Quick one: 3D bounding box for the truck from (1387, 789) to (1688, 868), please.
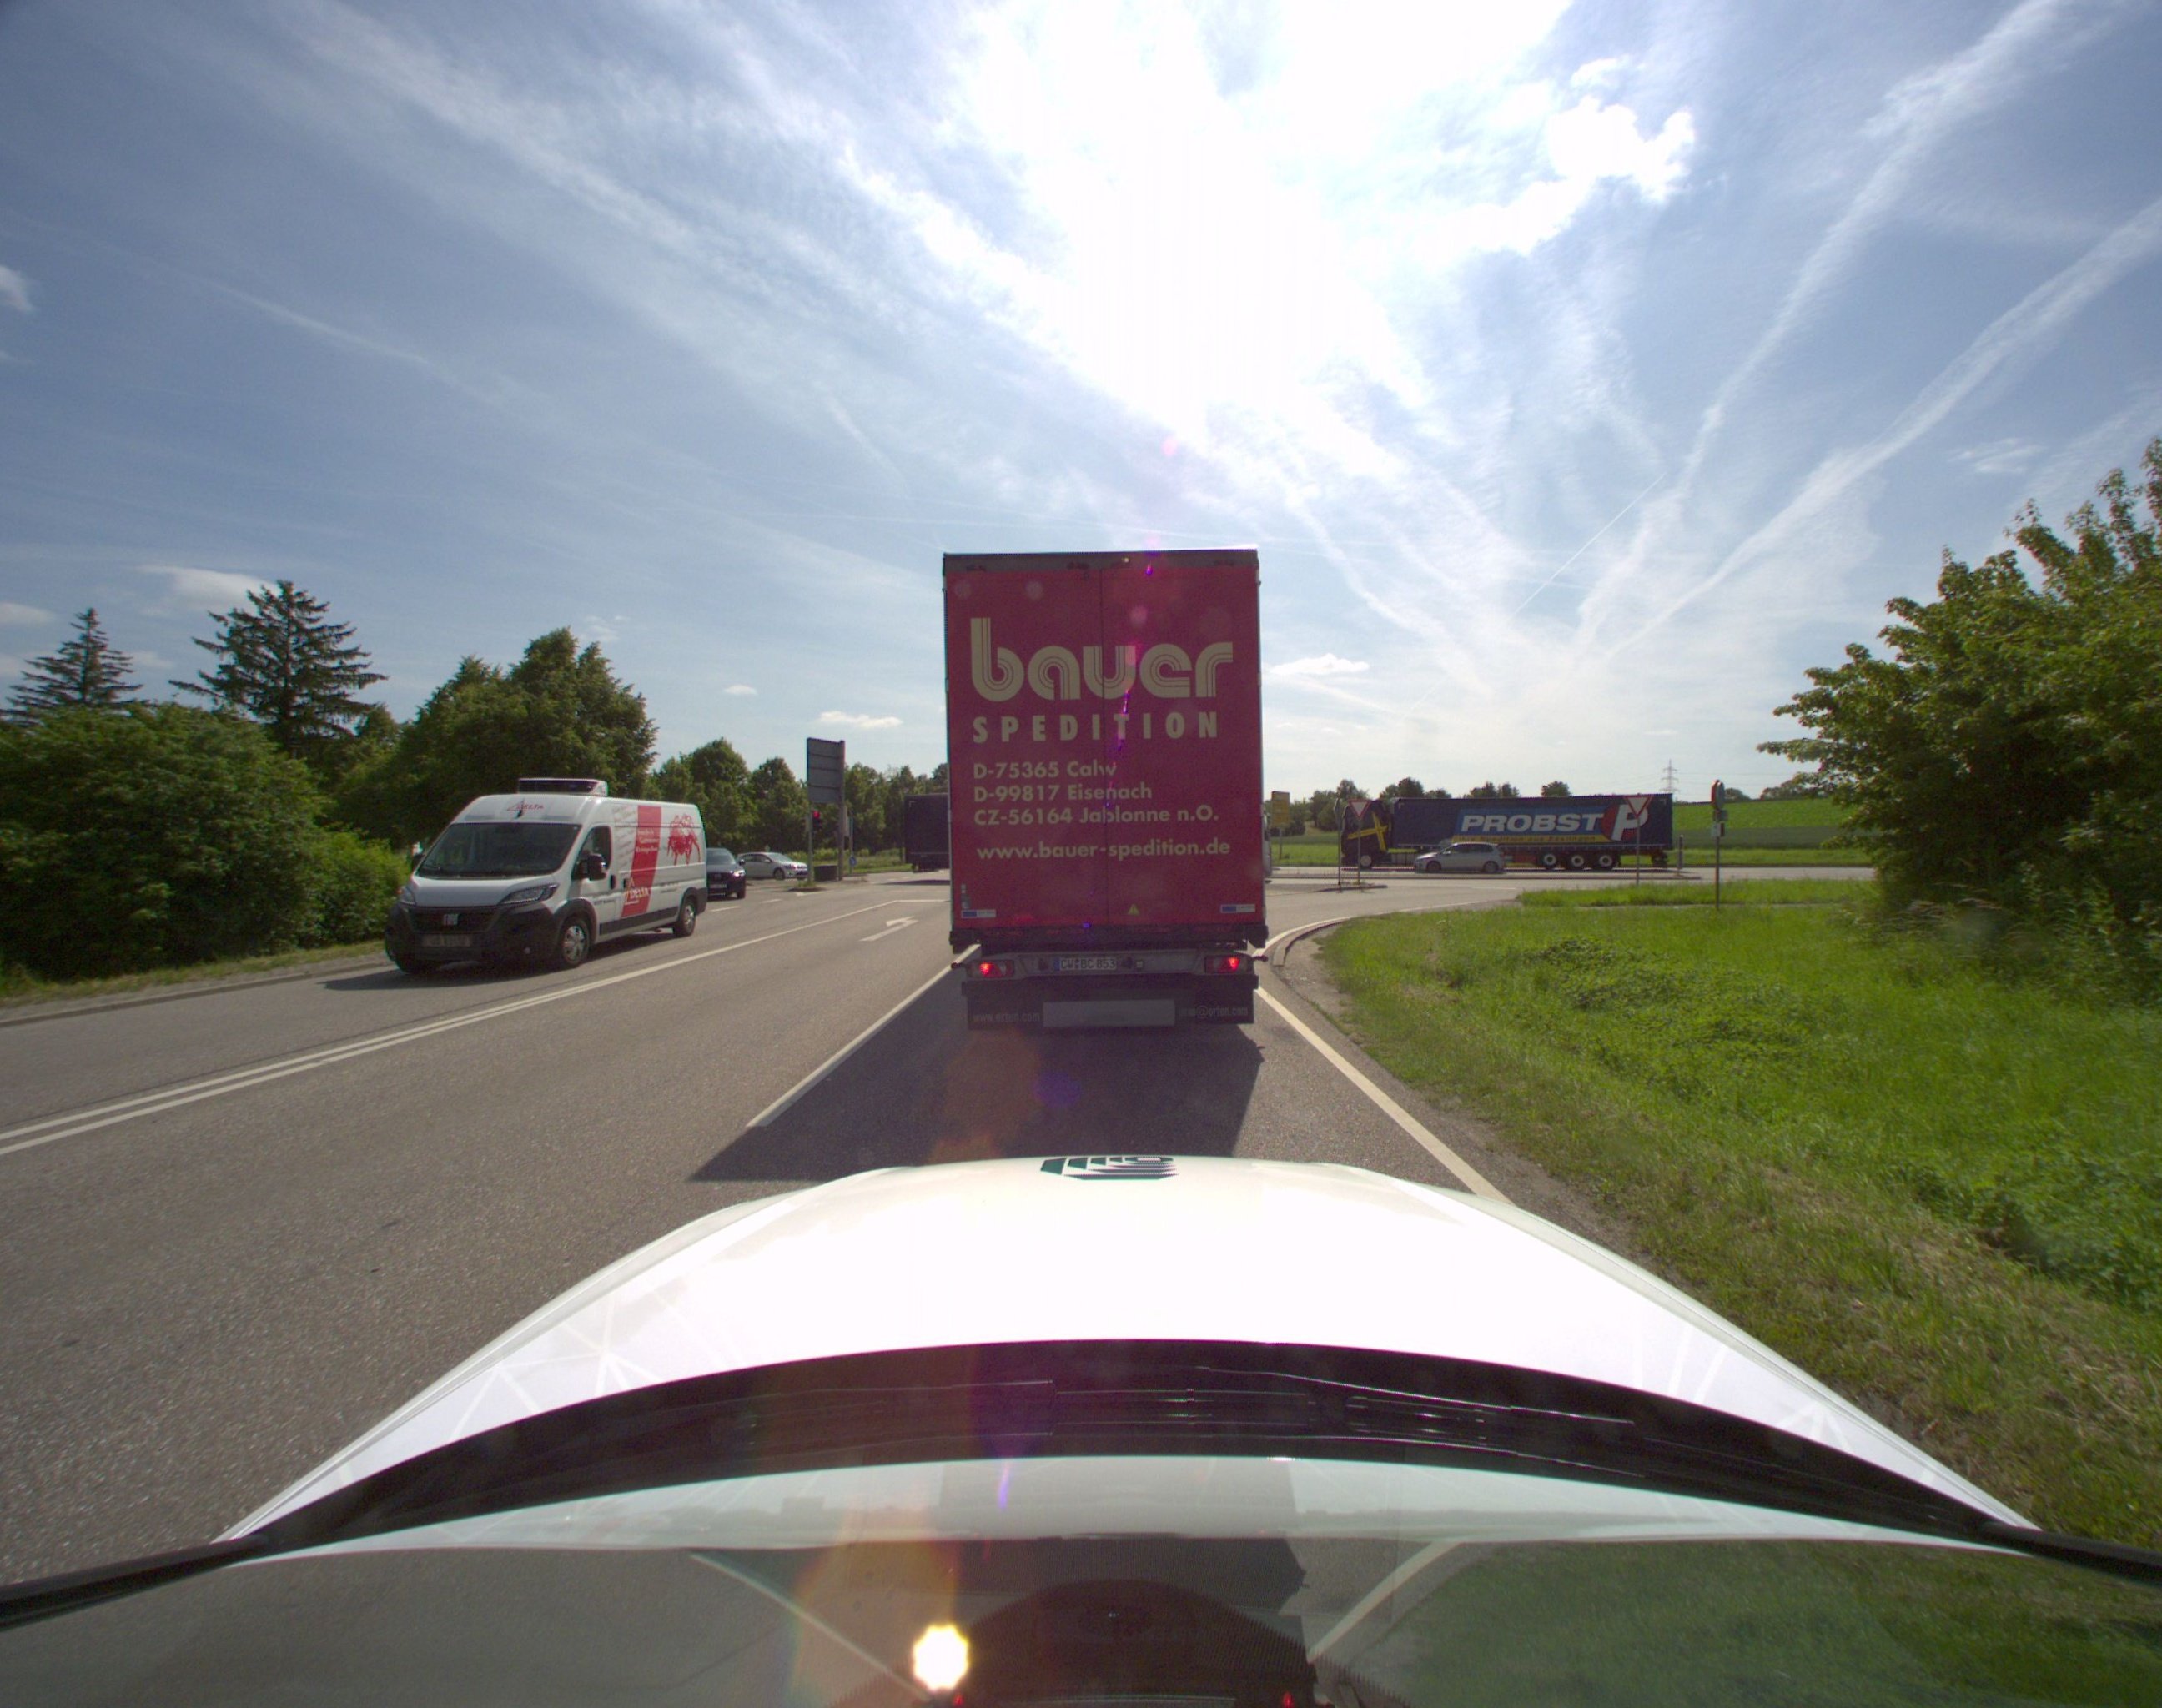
[{"bbox_3d":[24.401,-1.296,44.755,14.163,3.979,3.043,0,1,20],"label":"truck"}]

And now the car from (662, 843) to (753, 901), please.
[{"bbox_3d":[-12.315,0.578,26.714,1.881,1.750,4.064,0,-1,-37],"label":"car"}]

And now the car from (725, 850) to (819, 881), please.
[{"bbox_3d":[-15.645,0.548,41.266,4.211,1.461,1.819,0,1,20],"label":"car"}]

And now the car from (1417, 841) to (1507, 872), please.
[{"bbox_3d":[19.244,0.124,41.310,3.964,1.491,1.544,-1,-1,16],"label":"car"}]

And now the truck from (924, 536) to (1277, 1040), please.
[{"bbox_3d":[0.384,-0.577,14.724,2.724,3.925,16.631,-1,0,2],"label":"truck"}]

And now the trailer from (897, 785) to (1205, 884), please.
[{"bbox_3d":[-1.439,-0.813,36.722,13.580,4.061,2.810,0,1,16],"label":"trailer"}]

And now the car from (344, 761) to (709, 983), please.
[{"bbox_3d":[-8.024,0.178,12.816,2.115,2.654,5.974,0,1,-6],"label":"car"}]

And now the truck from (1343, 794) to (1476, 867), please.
[{"bbox_3d":[18.673,-1.280,46.792,6.875,3.993,3.042,0,1,18],"label":"truck"}]

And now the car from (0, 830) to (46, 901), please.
[{"bbox_3d":[-35.338,0.344,24.605,4.601,2.180,1.985,0,0,-22],"label":"car"}]

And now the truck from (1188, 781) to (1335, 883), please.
[{"bbox_3d":[7.579,-0.896,34.390,5.786,4.061,2.808,0,1,12],"label":"truck"}]
